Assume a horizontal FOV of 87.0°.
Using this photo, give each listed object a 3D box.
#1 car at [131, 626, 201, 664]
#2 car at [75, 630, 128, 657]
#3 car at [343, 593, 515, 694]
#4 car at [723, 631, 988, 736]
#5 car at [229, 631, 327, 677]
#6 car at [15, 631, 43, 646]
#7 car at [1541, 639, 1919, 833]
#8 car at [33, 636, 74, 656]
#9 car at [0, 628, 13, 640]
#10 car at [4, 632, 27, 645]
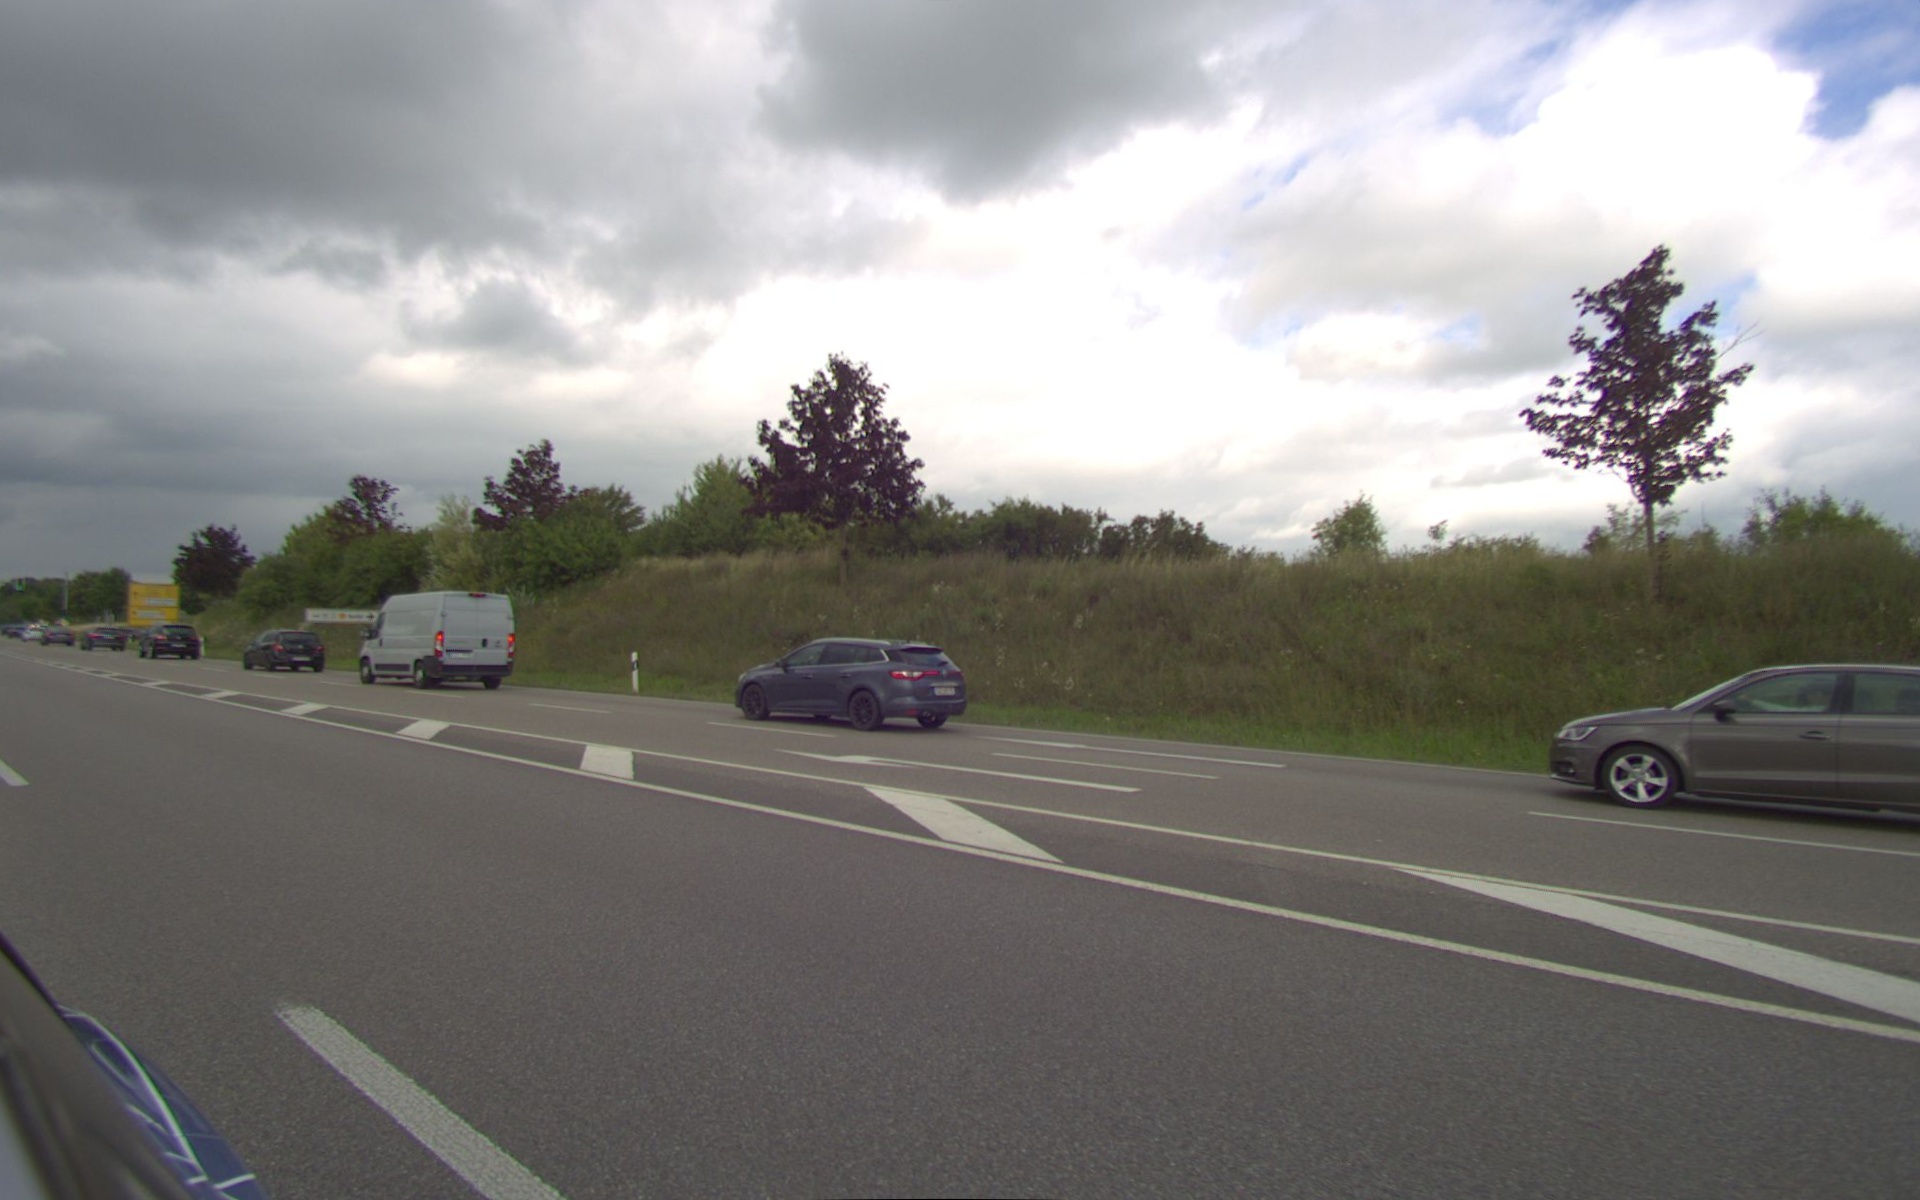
[{"bbox_3d":[-37.496,2.120,47.755,4.514,1.647,1.775,-2,-5,42],"label":"car"},{"bbox_3d":[-53.187,2.682,62.666,4.704,1.523,1.775,-2,-5,42],"label":"car"},{"bbox_3d":[-14.400,1.174,27.282,5.630,2.458,2.012,-2,-5,40],"label":"car"},{"bbox_3d":[-1.854,1.325,16.981,4.544,1.542,1.715,-2,-4,40],"label":"car"},{"bbox_3d":[-24.169,1.886,35.830,4.190,1.542,1.715,-2,-4,40],"label":"car"},{"bbox_3d":[-89.977,3.702,97.780,4.055,1.425,1.590,-2,-4,42],"label":"car"},{"bbox_3d":[7.790,1.150,9.134,4.190,1.542,1.715,-2,-4,40],"label":"car"},{"bbox_3d":[-70.410,3.589,78.570,4.704,1.416,1.775,-2,-6,42],"label":"car"},{"bbox_3d":[-147.114,5.248,155.601,4.129,1.729,1.831,-2,-3,43],"label":"car"},{"bbox_3d":[-112.072,4.586,120.038,4.661,1.492,1.704,-2,-5,45],"label":"car"}]
